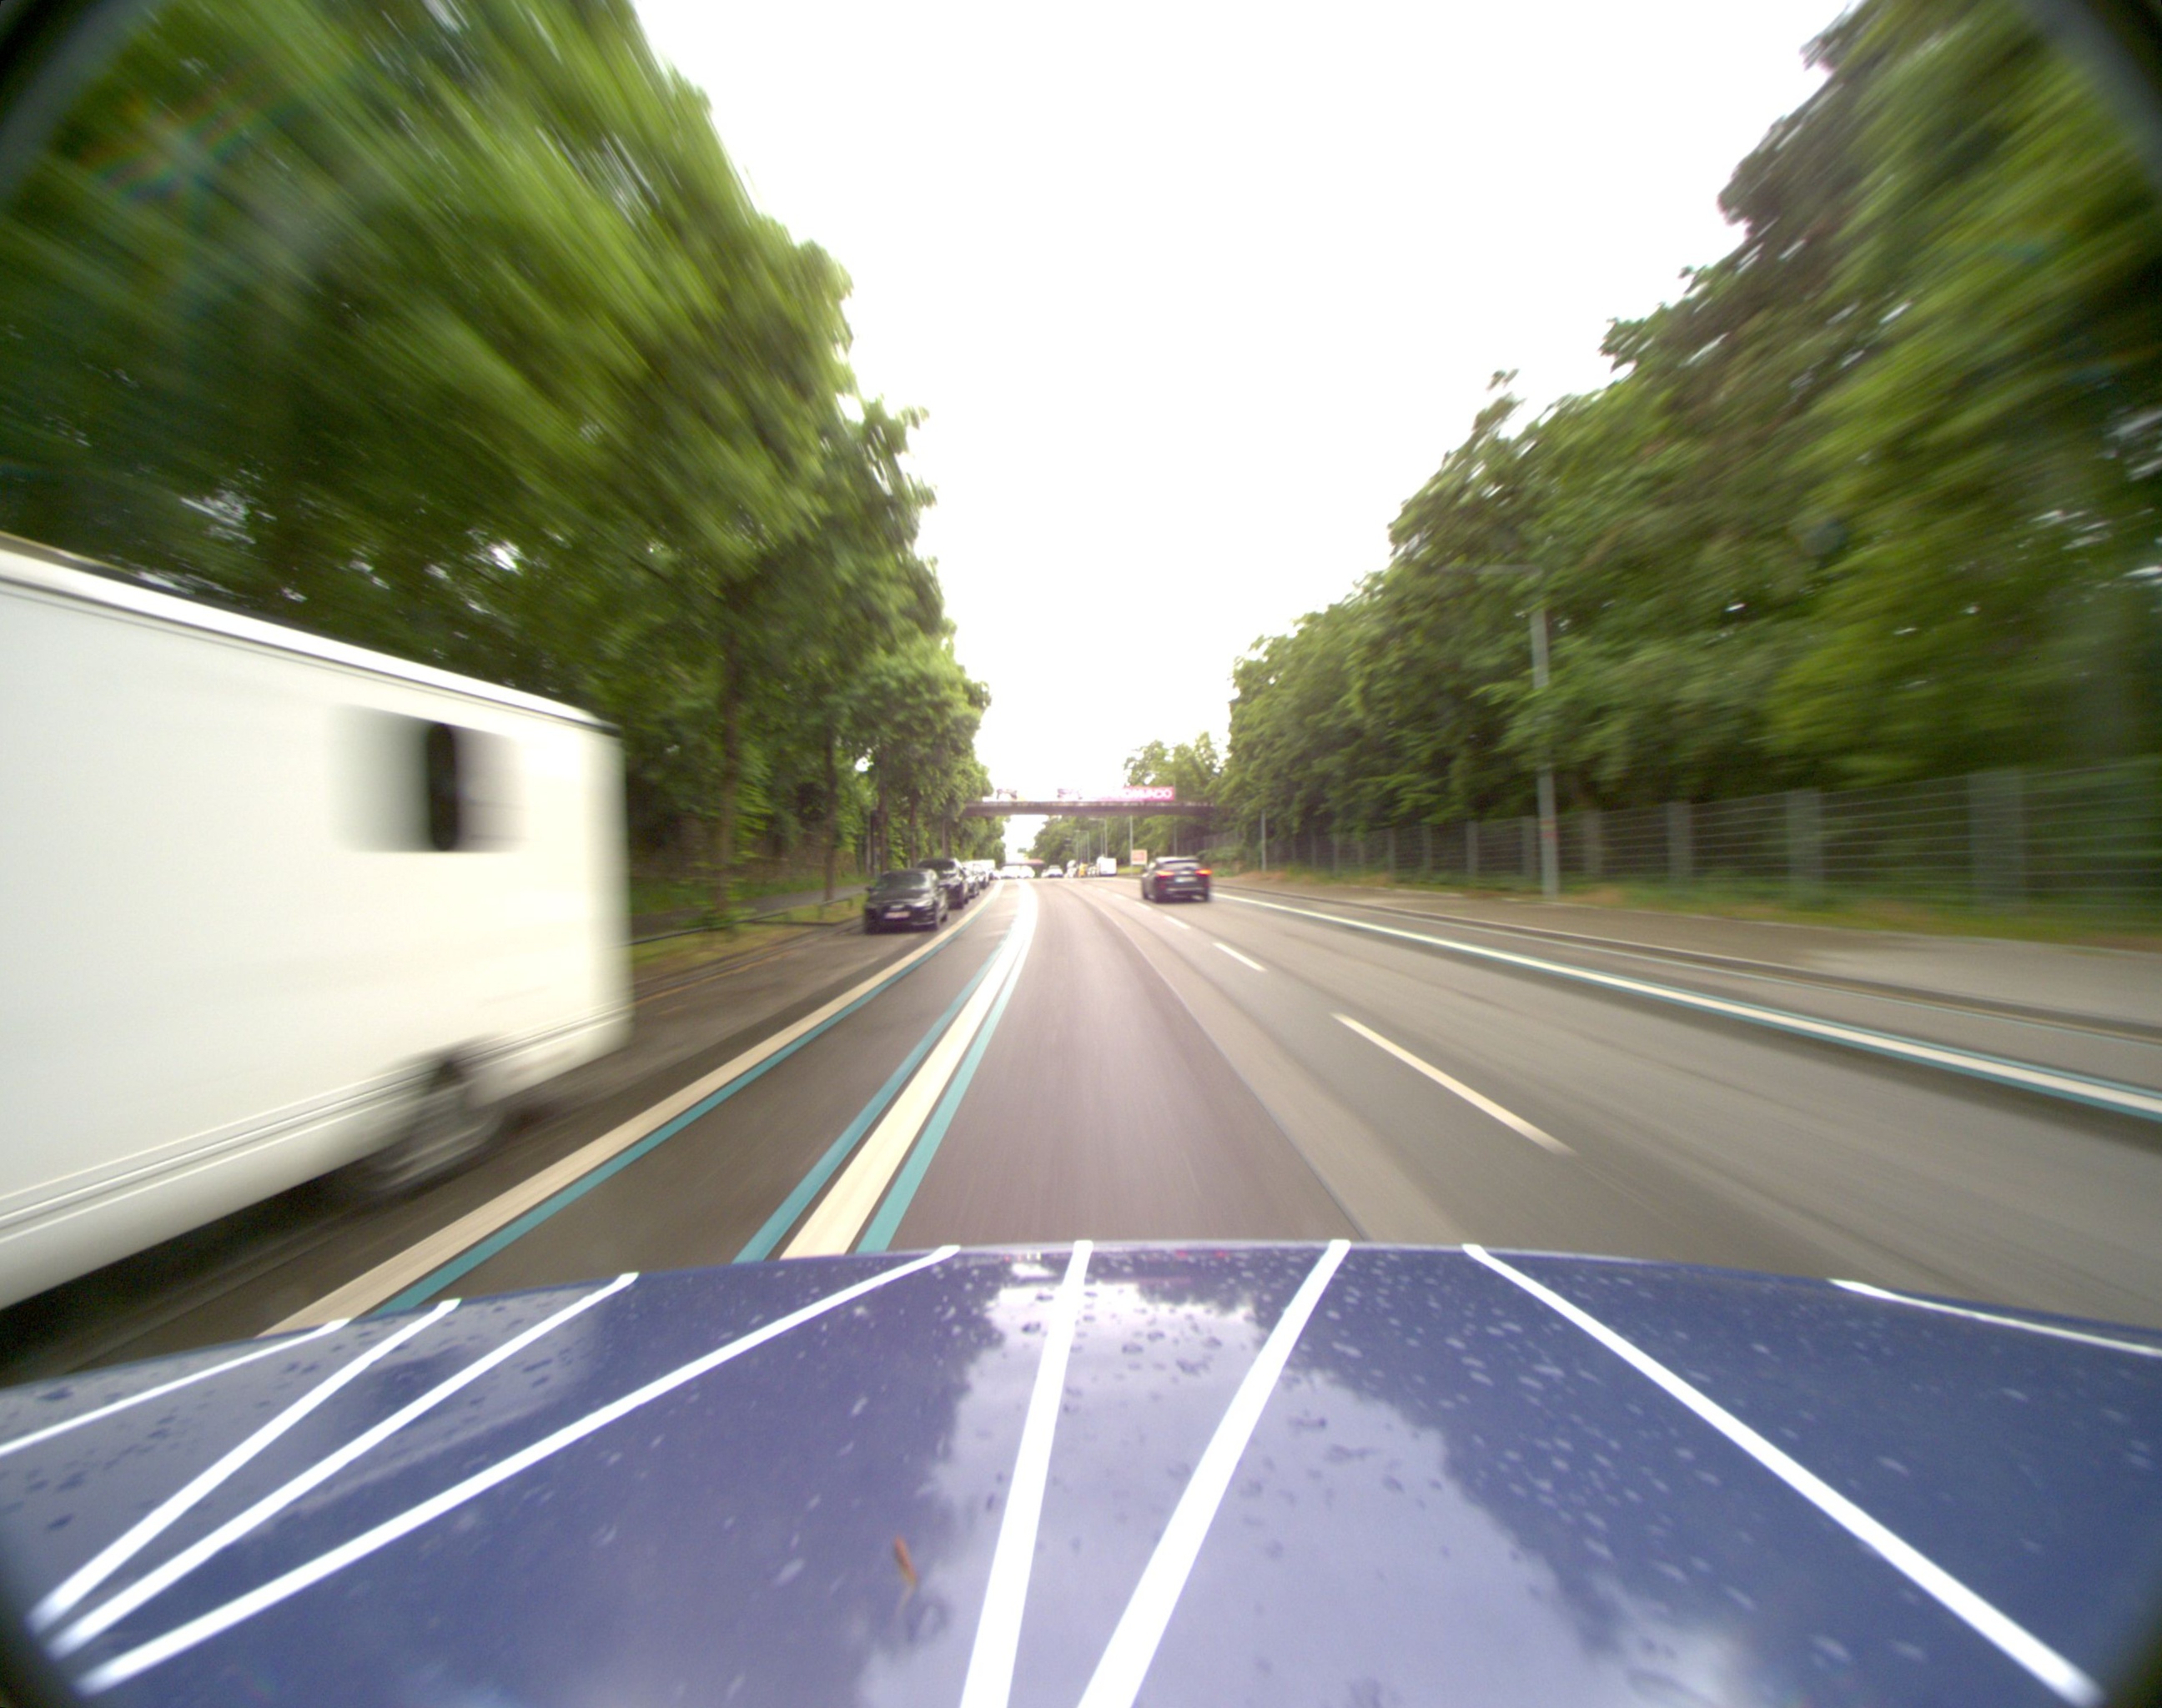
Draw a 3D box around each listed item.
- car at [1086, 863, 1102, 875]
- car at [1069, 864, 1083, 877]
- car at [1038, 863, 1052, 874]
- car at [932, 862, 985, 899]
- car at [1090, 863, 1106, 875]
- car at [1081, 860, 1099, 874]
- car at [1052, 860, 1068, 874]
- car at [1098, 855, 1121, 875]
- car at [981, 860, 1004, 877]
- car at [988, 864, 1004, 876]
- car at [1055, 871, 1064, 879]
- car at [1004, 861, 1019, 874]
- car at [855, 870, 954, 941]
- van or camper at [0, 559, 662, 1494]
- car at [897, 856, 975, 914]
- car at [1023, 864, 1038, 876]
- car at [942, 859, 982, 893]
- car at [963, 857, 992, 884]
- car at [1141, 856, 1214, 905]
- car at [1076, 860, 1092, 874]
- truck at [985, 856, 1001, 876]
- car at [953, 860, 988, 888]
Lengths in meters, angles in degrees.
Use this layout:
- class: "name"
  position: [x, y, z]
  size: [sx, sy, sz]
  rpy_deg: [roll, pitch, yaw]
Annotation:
- class: "car"
  position: [1.667, 1.976, 100.891]
  size: [1.714, 1.495, 4.150]
  rpy_deg: [0, -2, -4]
- class: "car"
  position: [-0.901, 2.802, 128.566]
  size: [1.878, 1.965, 4.734]
  rpy_deg: [0, -2, -7]
- class: "car"
  position: [-5.555, 2.205, 117.425]
  size: [1.978, 1.542, 3.868]
  rpy_deg: [-1, -1, -6]
- class: "car"
  position: [-5.210, 1.080, 32.794]
  size: [1.780, 1.340, 4.464]
  rpy_deg: [-2, 1, -3]
- class: "car"
  position: [2.122, 1.870, 96.025]
  size: [1.613, 1.437, 4.037]
  rpy_deg: [0, -2, -5]
- class: "car"
  position: [1.189, 1.835, 106.438]
  size: [1.999, 1.901, 4.844]
  rpy_deg: [-1, -2, -5]
- class: "car"
  position: [-2.622, 1.597, 94.079]
  size: [1.801, 1.567, 4.100]
  rpy_deg: [-1, 0, -4]
- class: "car"
  position: [3.025, 1.225, 82.238]
  size: [1.984, 1.902, 5.227]
  rpy_deg: [-1, -2, -3]
- class: "car"
  position: [-8.544, 1.440, 72.847]
  size: [2.000, 1.550, 4.640]
  rpy_deg: [-1, -2, -8]
- class: "car"
  position: [-11.586, 2.185, 103.036]
  size: [1.762, 1.575, 4.411]
  rpy_deg: [-1, -2, -11]
- class: "car"
  position: [-4.801, 4.725, 171.398]
  size: [1.823, 1.754, 4.000]
  rpy_deg: [0, -3, -5]
- class: "car"
  position: [-8.199, 1.593, 89.646]
  size: [1.727, 1.389, 4.590]
  rpy_deg: [-1, -2, -6]
- class: "car"
  position: [-4.199, 1.171, 18.686]
  size: [1.683, 1.368, 3.998]
  rpy_deg: [-2, 1, -3]
- class: "van or camper"
  position: [-4.239, 0.514, 2.105]
  size: [2.322, 2.649, 6.383]
  rpy_deg: [-2, 0, 2]
- class: "car"
  position: [-4.841, 0.990, 25.998]
  size: [1.999, 1.636, 4.346]
  rpy_deg: [-3, 1, -4]
- class: "car"
  position: [-6.793, 2.186, 102.157]
  size: [1.829, 1.453, 3.881]
  rpy_deg: [-2, -1, -5]
- class: "car"
  position: [-5.903, 1.054, 38.029]
  size: [1.666, 1.526, 3.739]
  rpy_deg: [-2, 0, -5]
- class: "car"
  position: [-6.606, 1.002, 48.961]
  size: [1.719, 1.609, 4.258]
  rpy_deg: [-2, 0, -6]
- class: "car"
  position: [3.125, 0.829, 25.422]
  size: [1.765, 1.428, 4.150]
  rpy_deg: [-2, 0, -2]
- class: "car"
  position: [0.438, 1.980, 112.543]
  size: [1.882, 1.908, 5.203]
  rpy_deg: [0, -2, -6]
- class: "truck"
  position: [-10.548, 1.474, 90.925]
  size: [1.724, 2.319, 3.999]
  rpy_deg: [-2, -1, -5]
- class: "car"
  position: [-6.196, 1.097, 43.146]
  size: [1.723, 1.368, 4.555]
  rpy_deg: [-2, 1, -6]
